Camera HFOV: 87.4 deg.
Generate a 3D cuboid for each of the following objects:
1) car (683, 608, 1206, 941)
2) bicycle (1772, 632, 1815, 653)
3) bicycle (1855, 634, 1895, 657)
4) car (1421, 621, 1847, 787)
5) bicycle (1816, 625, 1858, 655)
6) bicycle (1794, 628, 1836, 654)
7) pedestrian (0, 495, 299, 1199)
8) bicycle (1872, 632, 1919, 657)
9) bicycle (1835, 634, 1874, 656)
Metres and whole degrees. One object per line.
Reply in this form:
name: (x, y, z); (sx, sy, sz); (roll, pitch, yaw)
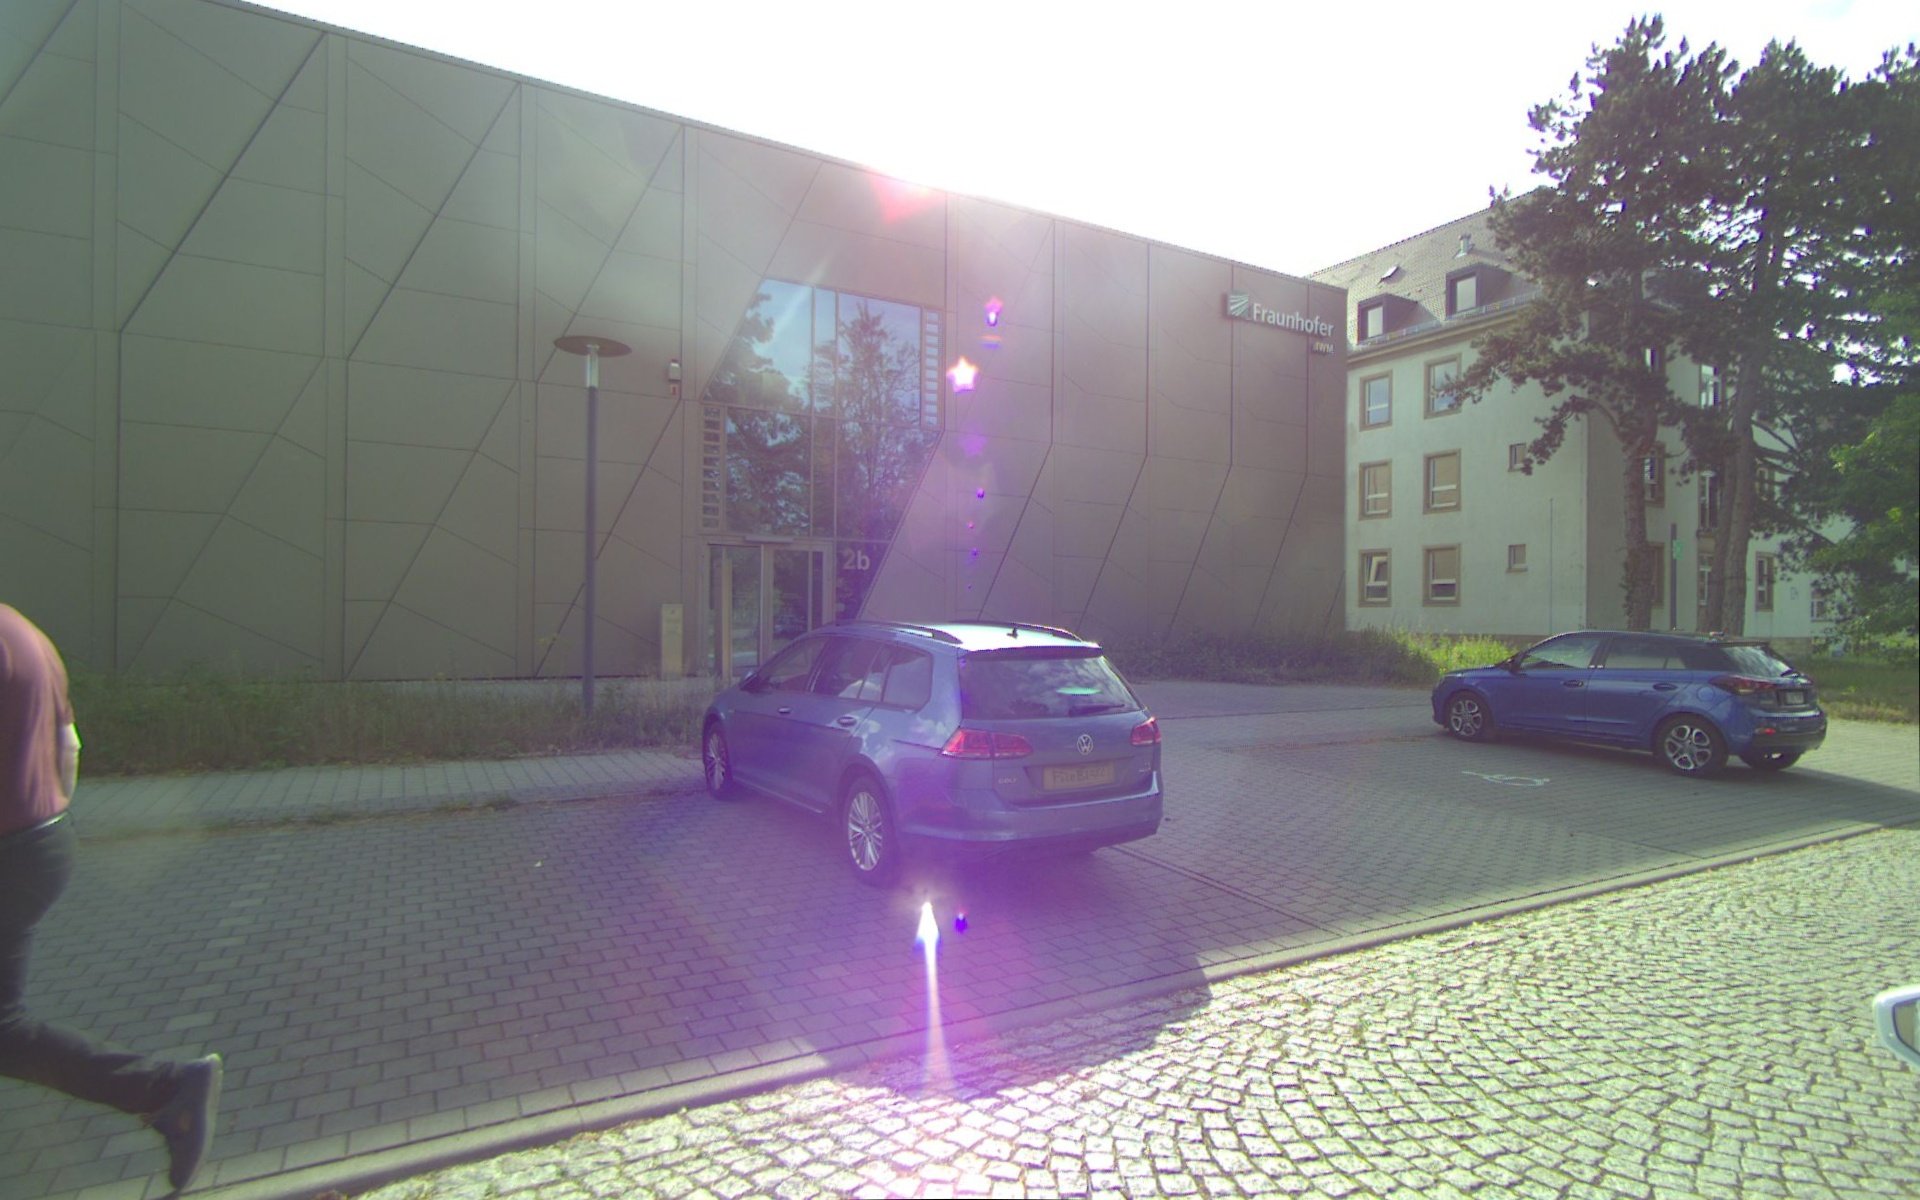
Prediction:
car: (-0.442, 0.863, 7.092); (1.663, 1.484, 4.229); (-1, 2, -34)
bicycle: (42.363, 2.156, 51.048); (2.523, 1.061, 0.896); (1, -1, -30)
bicycle: (43.923, 2.188, 48.209); (2.099, 1.061, 0.822); (1, -1, -30)
car: (7.678, 1.061, 11.852); (1.698, 1.483, 3.820); (1, 0, -28)
bicycle: (43.425, 1.967, 49.735); (2.523, 1.456, 0.822); (1, -1, -30)
bicycle: (42.796, 2.047, 50.260); (2.523, 1.298, 0.822); (1, -1, -30)
pedestrian: (-2.475, 0.655, 2.696); (1.141, 1.795, 0.799); (1, -1, -34)
bicycle: (43.554, 2.046, 46.317); (0.819, 1.123, 2.105); (1, -1, -32)
bicycle: (43.511, 2.179, 48.872); (2.099, 1.061, 0.822); (1, -1, -30)
